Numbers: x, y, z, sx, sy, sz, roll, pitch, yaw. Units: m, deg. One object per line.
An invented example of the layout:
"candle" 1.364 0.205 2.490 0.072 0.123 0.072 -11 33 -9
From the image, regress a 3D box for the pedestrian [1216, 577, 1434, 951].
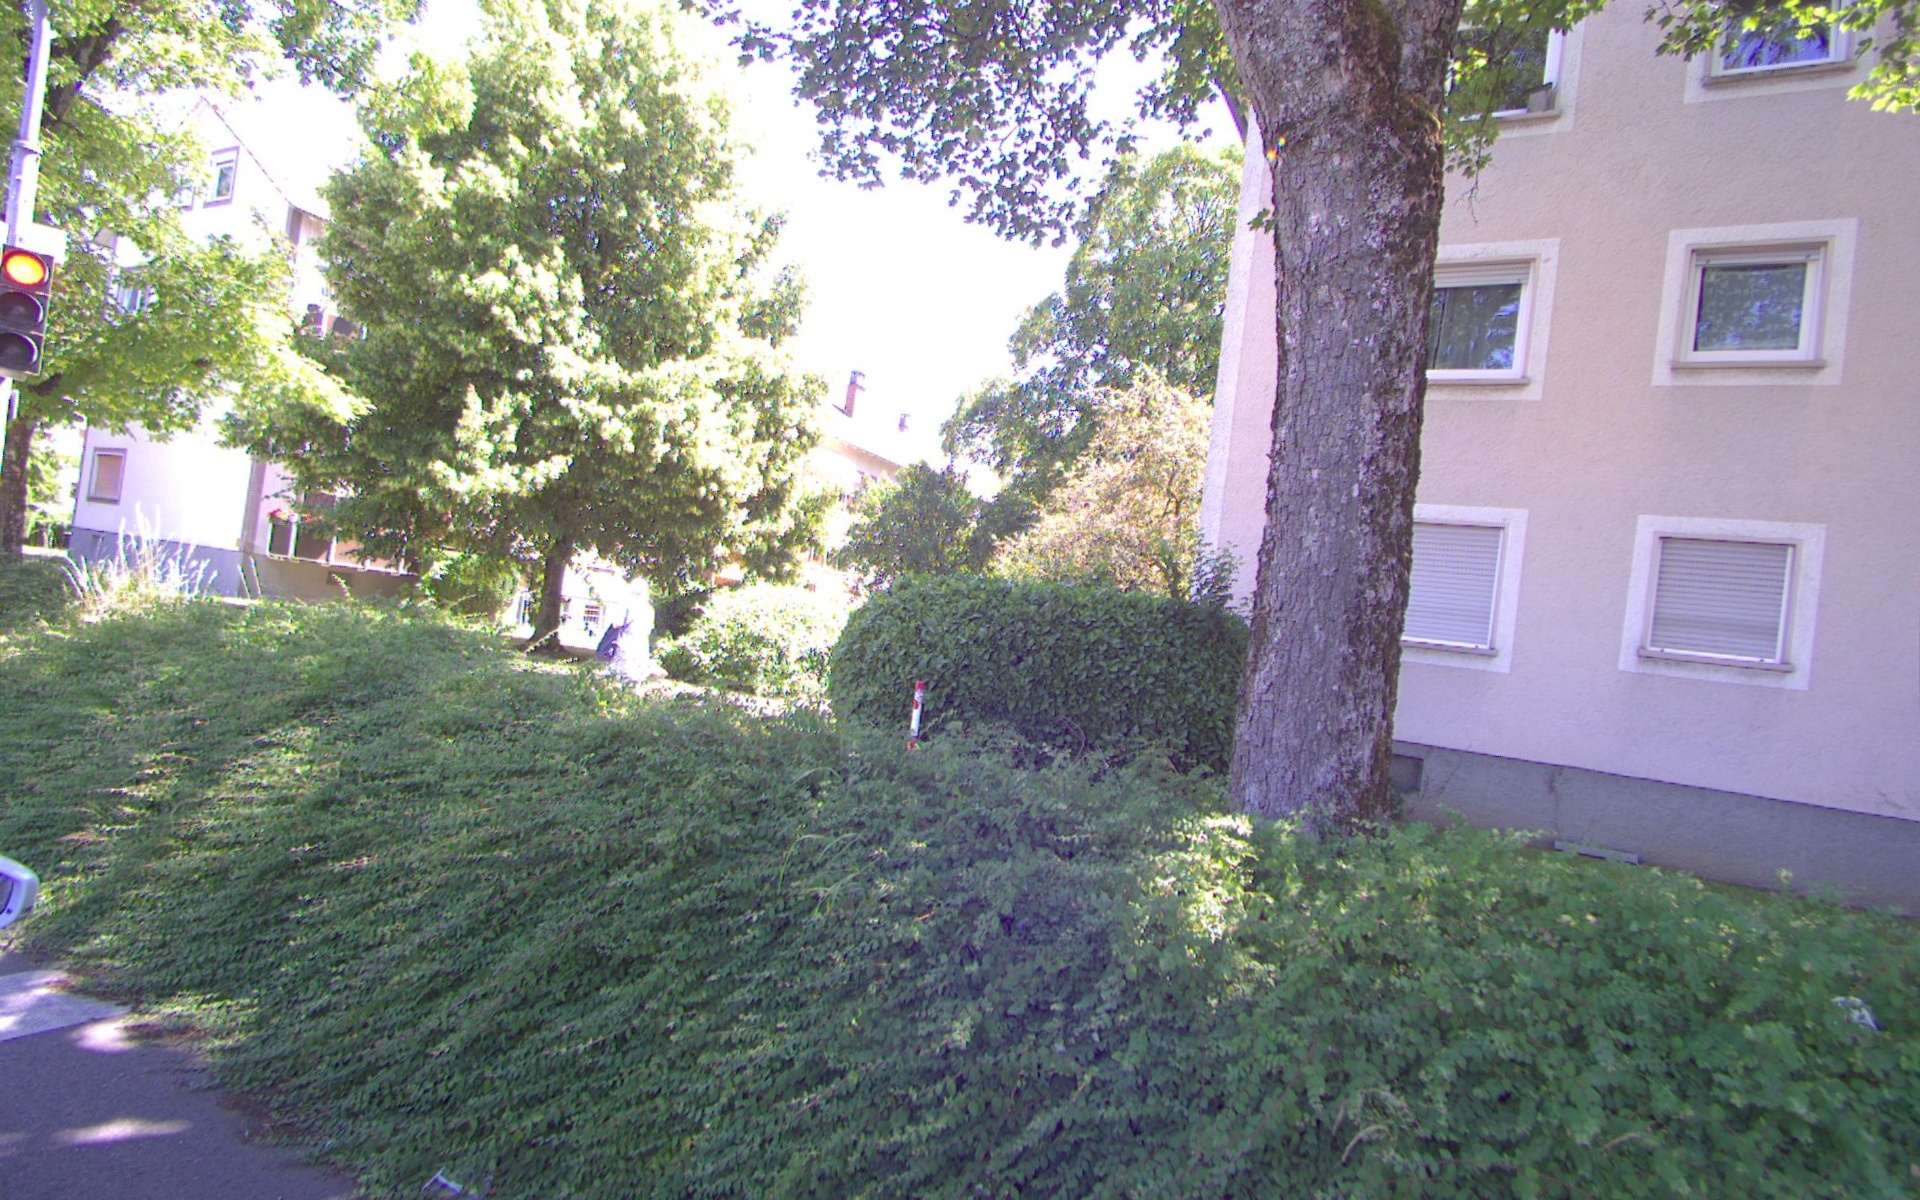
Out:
"pedestrian" 2.057 0.898 5.781 0.886 1.894 0.675 7 -3 11

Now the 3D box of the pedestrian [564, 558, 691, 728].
"pedestrian" -3.510 0.454 10.661 0.836 1.653 0.720 7 0 23
